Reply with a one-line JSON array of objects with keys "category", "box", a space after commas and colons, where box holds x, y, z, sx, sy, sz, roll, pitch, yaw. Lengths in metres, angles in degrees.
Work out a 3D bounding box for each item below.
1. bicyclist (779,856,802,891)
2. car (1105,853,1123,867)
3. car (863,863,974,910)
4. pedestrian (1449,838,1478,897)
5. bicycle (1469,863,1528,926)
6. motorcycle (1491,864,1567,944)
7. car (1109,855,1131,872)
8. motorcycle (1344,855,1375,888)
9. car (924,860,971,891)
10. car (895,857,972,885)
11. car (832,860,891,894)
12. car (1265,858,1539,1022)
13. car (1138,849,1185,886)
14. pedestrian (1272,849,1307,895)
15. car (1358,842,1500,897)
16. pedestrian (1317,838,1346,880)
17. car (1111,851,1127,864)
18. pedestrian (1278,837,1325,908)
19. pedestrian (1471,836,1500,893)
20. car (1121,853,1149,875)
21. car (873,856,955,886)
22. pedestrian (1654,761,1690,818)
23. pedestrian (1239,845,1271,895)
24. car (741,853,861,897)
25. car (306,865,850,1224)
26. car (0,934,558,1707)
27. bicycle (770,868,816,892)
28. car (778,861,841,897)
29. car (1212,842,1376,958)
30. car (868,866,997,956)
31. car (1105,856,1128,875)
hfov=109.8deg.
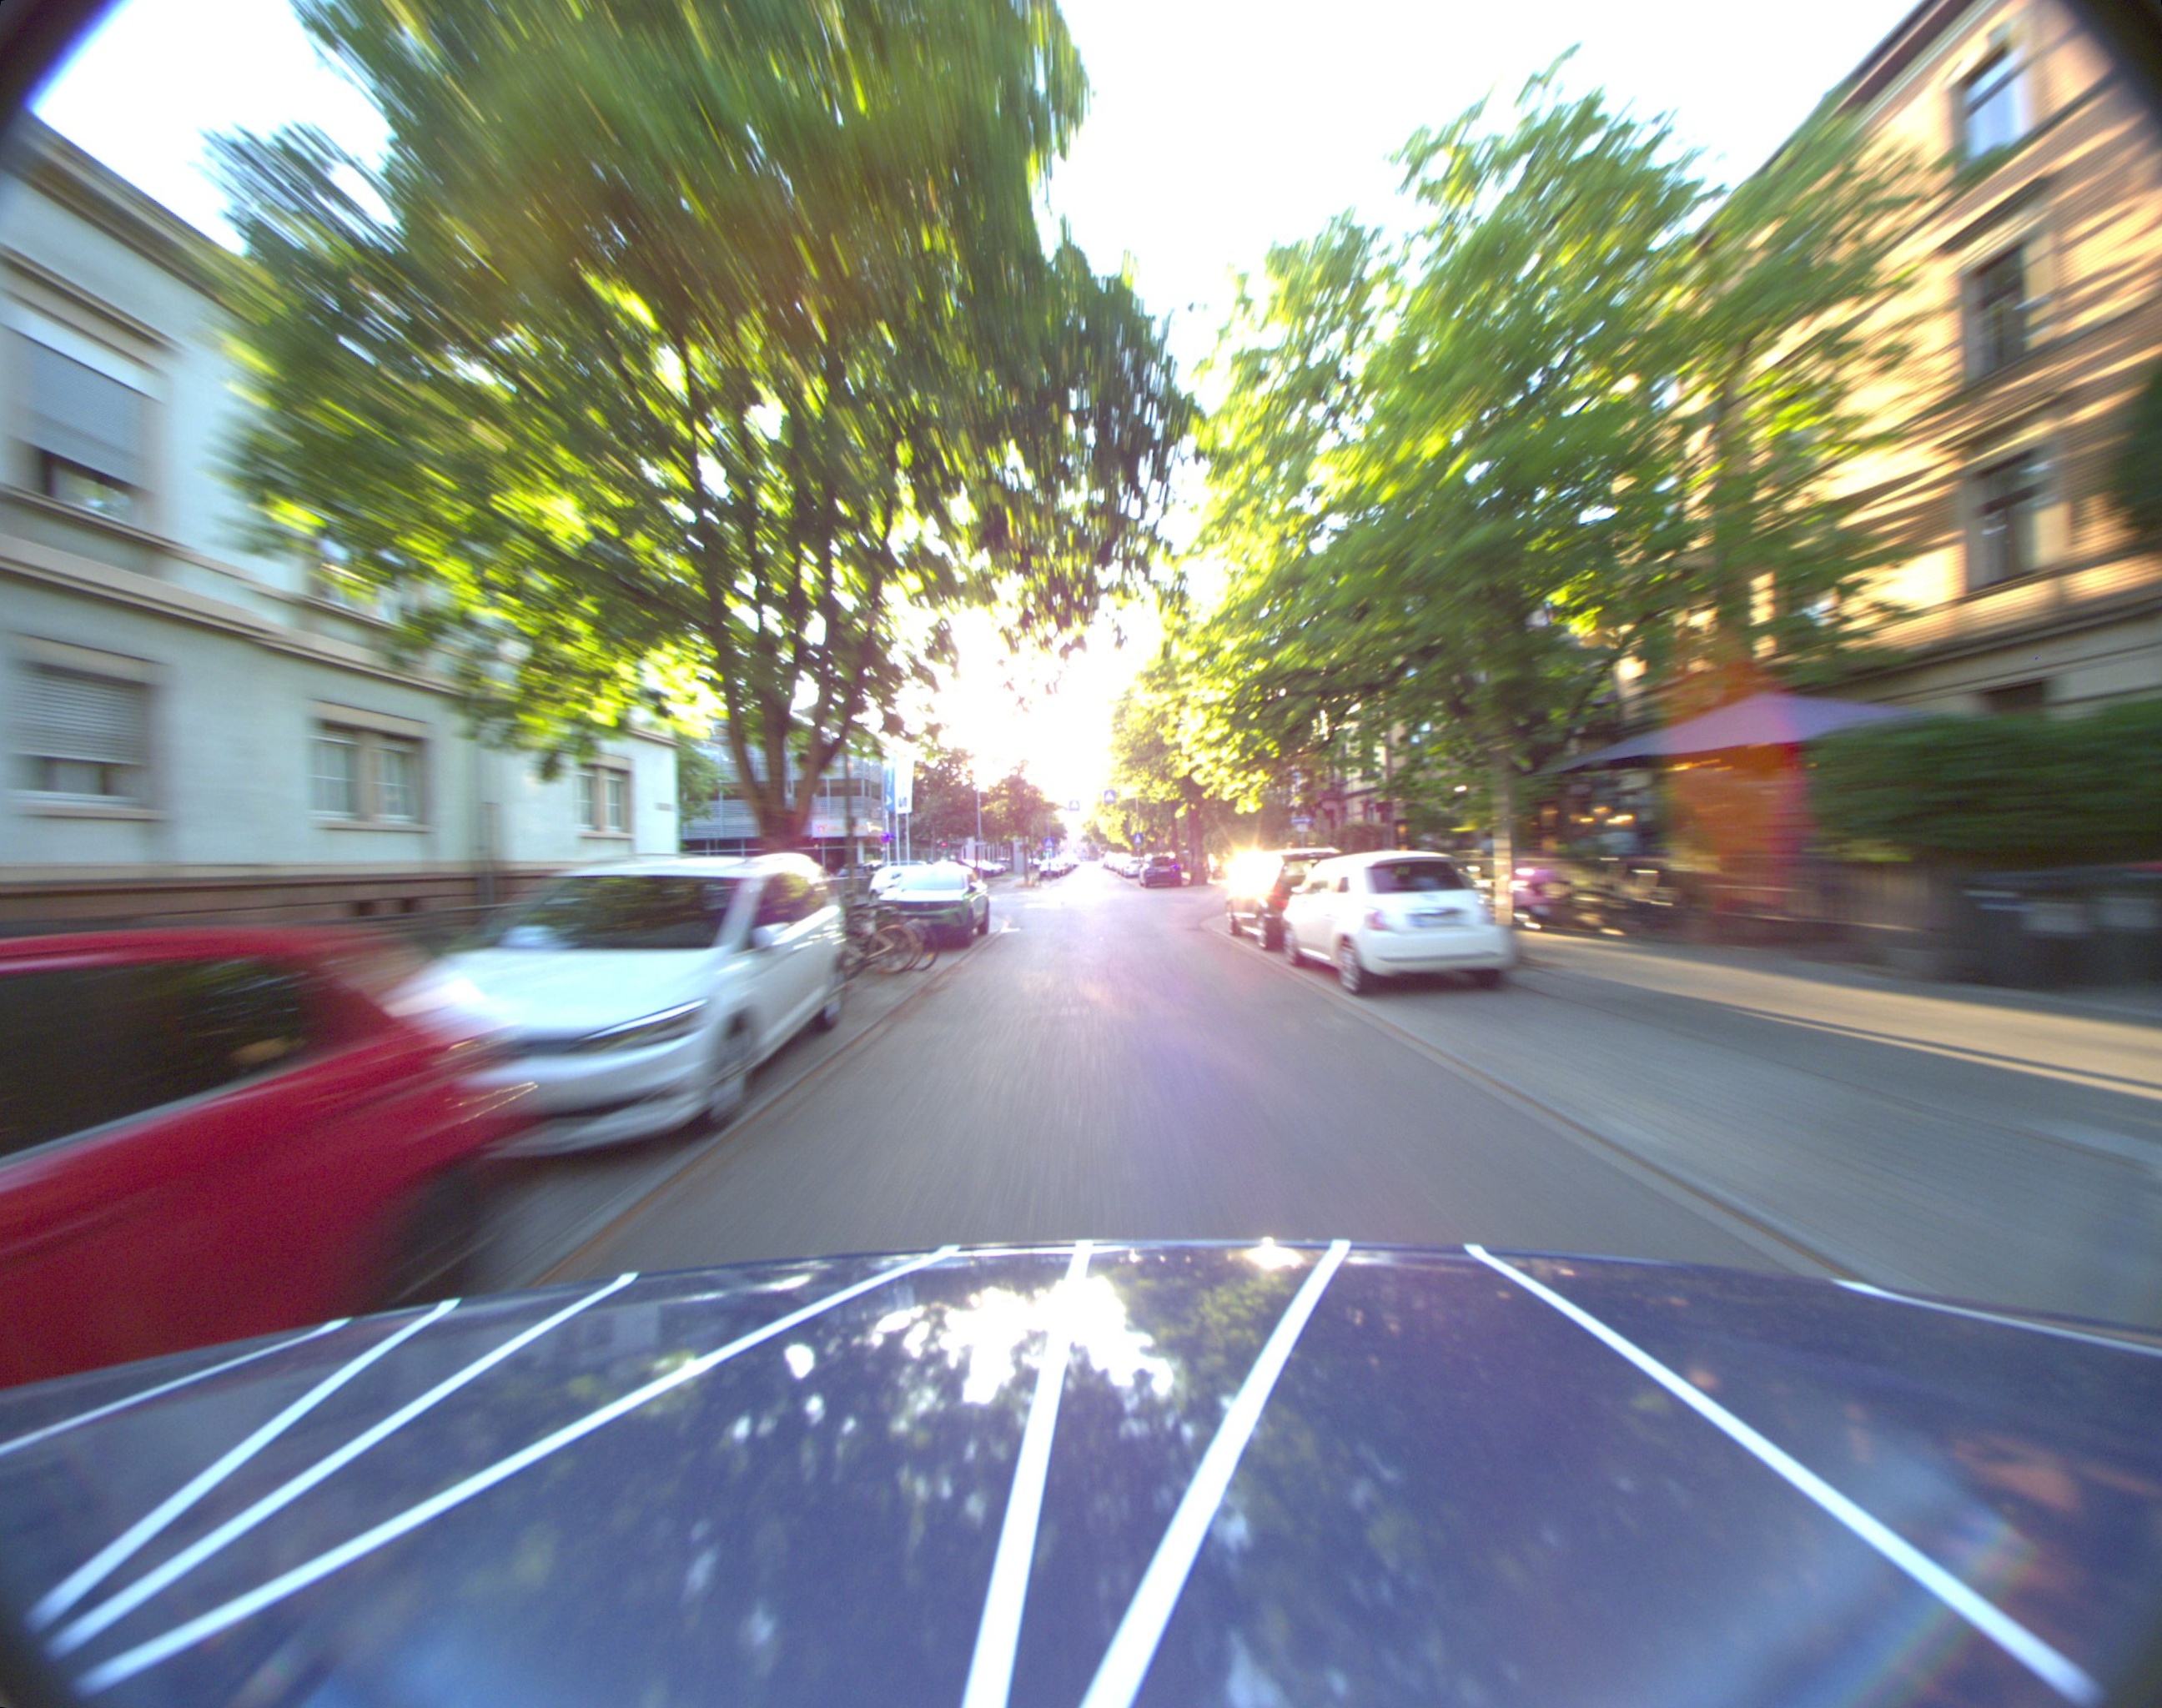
[{"category": "bicyclist", "box": [-13.164, 0.896, 34.456, 0.822, 1.568, 0.510, -2, -1, 9]}, {"category": "car", "box": [3.720, 0.644, 85.916, 1.617, 1.433, 4.104, -3, 0, -1]}, {"category": "car", "box": [-5.702, 1.116, 26.330, 1.816, 1.492, 4.161, -1, -1, -44]}, {"category": "pedestrian", "box": [9.505, 0.337, 18.881, 0.430, 1.442, 0.462, -1, -1, -31]}, {"category": "bicycle", "box": [8.391, 0.783, 15.344, 0.392, 1.137, 1.958, -4, 0, 10]}, {"category": "motorcycle", "box": [7.466, 0.783, 12.750, 0.392, 1.179, 1.958, -3, 0, 10]}, {"category": "car", "box": [3.548, 0.892, 69.744, 1.617, 1.433, 4.310, -3, 0, -1]}, {"category": "motorcycle", "box": [11.057, 0.682, 30.229, 0.472, 1.249, 1.861, -1, -1, -2]}, {"category": "car", "box": [-7.144, 1.127, 40.953, 1.767, 1.562, 3.902, -2, 0, 0]}, {"category": "car", "box": [-9.493, 1.074, 49.215, 4.588, 1.606, 1.872, -2, 0, 0]}, {"category": "car", "box": [-11.683, 1.187, 40.732, 1.716, 1.596, 4.127, -2, 1, 3]}, {"category": "car", "box": [3.602, 0.852, 9.314, 1.668, 1.484, 3.710, -4, 0, 0]}, {"category": "car", "box": [4.105, 0.678, 39.288, 1.871, 1.677, 4.592, -3, 0, 0]}, {"category": "pedestrian", "box": [7.619, 0.654, 27.739, 0.688, 1.621, 1.051, -1, 1, -25]}, {"category": "car", "box": [10.631, 0.456, 23.256, 3.861, 1.536, 1.631, -1, -1, -19]}, {"category": "pedestrian", "box": [11.445, 0.213, 34.723, 0.925, 1.814, 0.779, -3, 4, -10]}, {"category": "car", "box": [4.489, 0.449, 90.465, 1.617, 1.433, 4.104, -3, 0, -1]}, {"category": "pedestrian", "box": [6.414, 0.525, 22.175, 0.869, 2.002, 1.008, -1, 1, -19]}, {"category": "pedestrian", "box": [10.382, 0.281, 19.527, 0.430, 1.442, 0.462, -1, -1, -31]}, {"category": "car", "box": [4.053, 0.748, 57.322, 1.617, 1.433, 3.754, -4, 0, -2]}, {"category": "car", "box": [-10.215, 1.021, 46.645, 4.588, 1.634, 1.872, -2, 0, 0]}, {"category": "pedestrian", "box": [15.174, -1.641, 19.517, 0.524, 1.404, 0.463, -1, -1, -14]}, {"category": "pedestrian", "box": [6.514, 0.587, 28.485, 0.688, 1.824, 1.007, -1, 1, -25]}, {"category": "car", "box": [-10.732, 0.779, 29.282, 3.939, 1.536, 1.633, -2, 1, 4]}, {"category": "car", "box": [-3.021, 0.940, 5.721, 1.669, 1.668, 4.118, 1, -1, -6]}, {"category": "car", "box": [-2.912, 1.053, 1.148, 1.668, 1.491, 3.694, 1, -1, 0]}, {"category": "bicycle", "box": [-13.052, 1.188, 34.455, 1.903, 1.028, 0.539, -1, 2, 9]}, {"category": "car", "box": [-14.491, 1.298, 40.767, 1.704, 1.583, 3.693, -2, 2, 5]}, {"category": "car", "box": [3.601, 0.720, 13.588, 1.668, 1.667, 3.846, -4, 0, -1]}, {"category": "car", "box": [-2.867, 1.047, 15.518, 1.735, 1.547, 3.963, 1, -1, 1]}, {"category": "car", "box": [2.948, 0.966, 64.172, 1.617, 1.433, 4.310, -3, 0, -1]}]
